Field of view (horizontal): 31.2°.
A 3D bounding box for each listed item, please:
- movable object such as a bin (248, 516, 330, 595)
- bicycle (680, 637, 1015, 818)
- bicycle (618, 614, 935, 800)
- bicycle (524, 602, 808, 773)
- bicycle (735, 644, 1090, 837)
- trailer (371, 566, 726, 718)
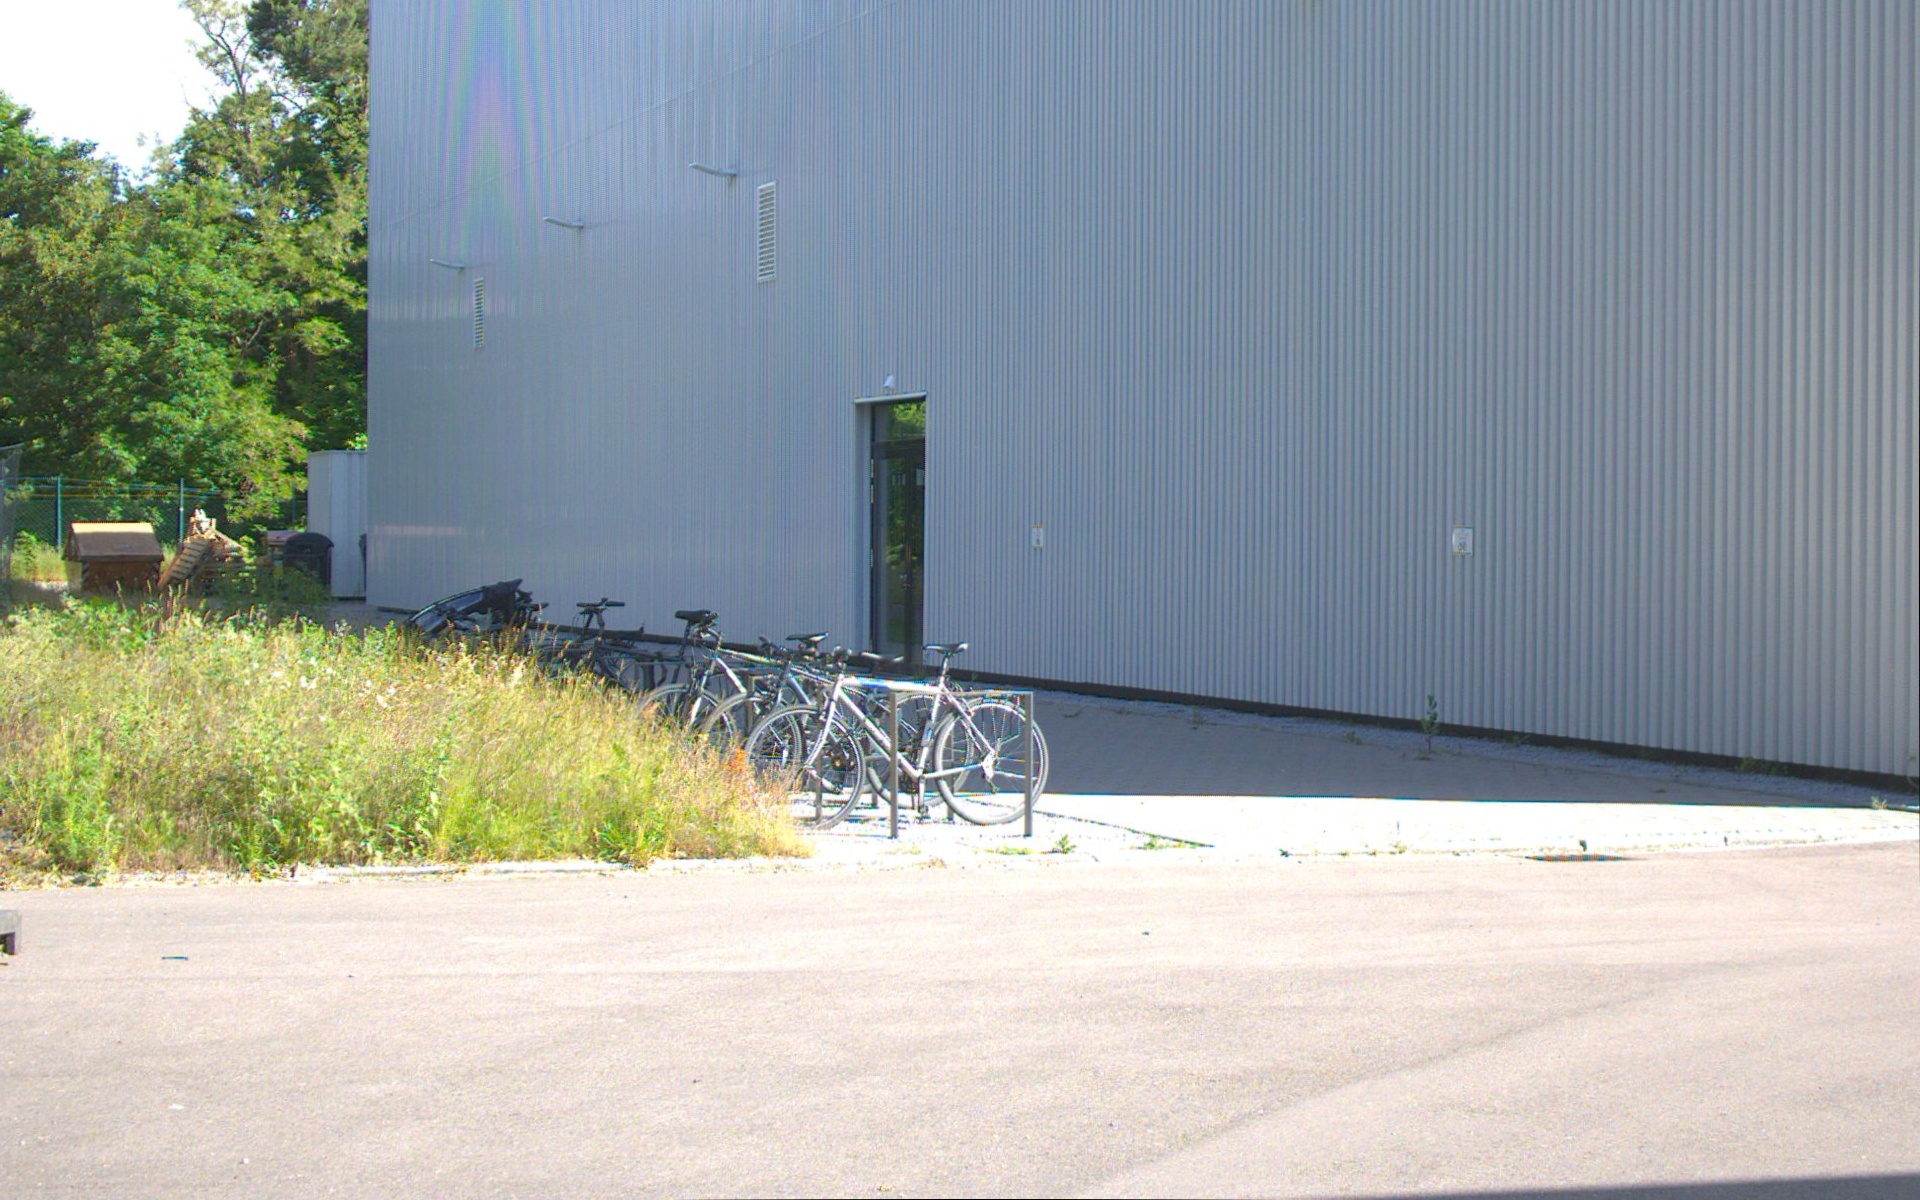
[{"bbox_3d":[-14.321,-0.960,73.264,1.363,1.650,2.843,0,1,-18],"label":"movable object such as a bin"},{"bbox_3d":[-0.636,0.719,19.724,1.883,0.974,0.433,0,1,-21],"label":"bicycle"},{"bbox_3d":[-1.109,0.635,20.917,1.883,1.078,0.433,0,1,-21],"label":"bicycle"},{"bbox_3d":[-2.006,0.584,23.506,1.883,1.122,0.433,0,1,-21],"label":"bicycle"},{"bbox_3d":[-0.249,0.745,18.589,1.883,0.974,0.433,0,1,-21],"label":"bicycle"},{"bbox_3d":[-3.439,0.326,28.684,2.710,1.195,1.246,0,1,-21],"label":"trailer"}]
